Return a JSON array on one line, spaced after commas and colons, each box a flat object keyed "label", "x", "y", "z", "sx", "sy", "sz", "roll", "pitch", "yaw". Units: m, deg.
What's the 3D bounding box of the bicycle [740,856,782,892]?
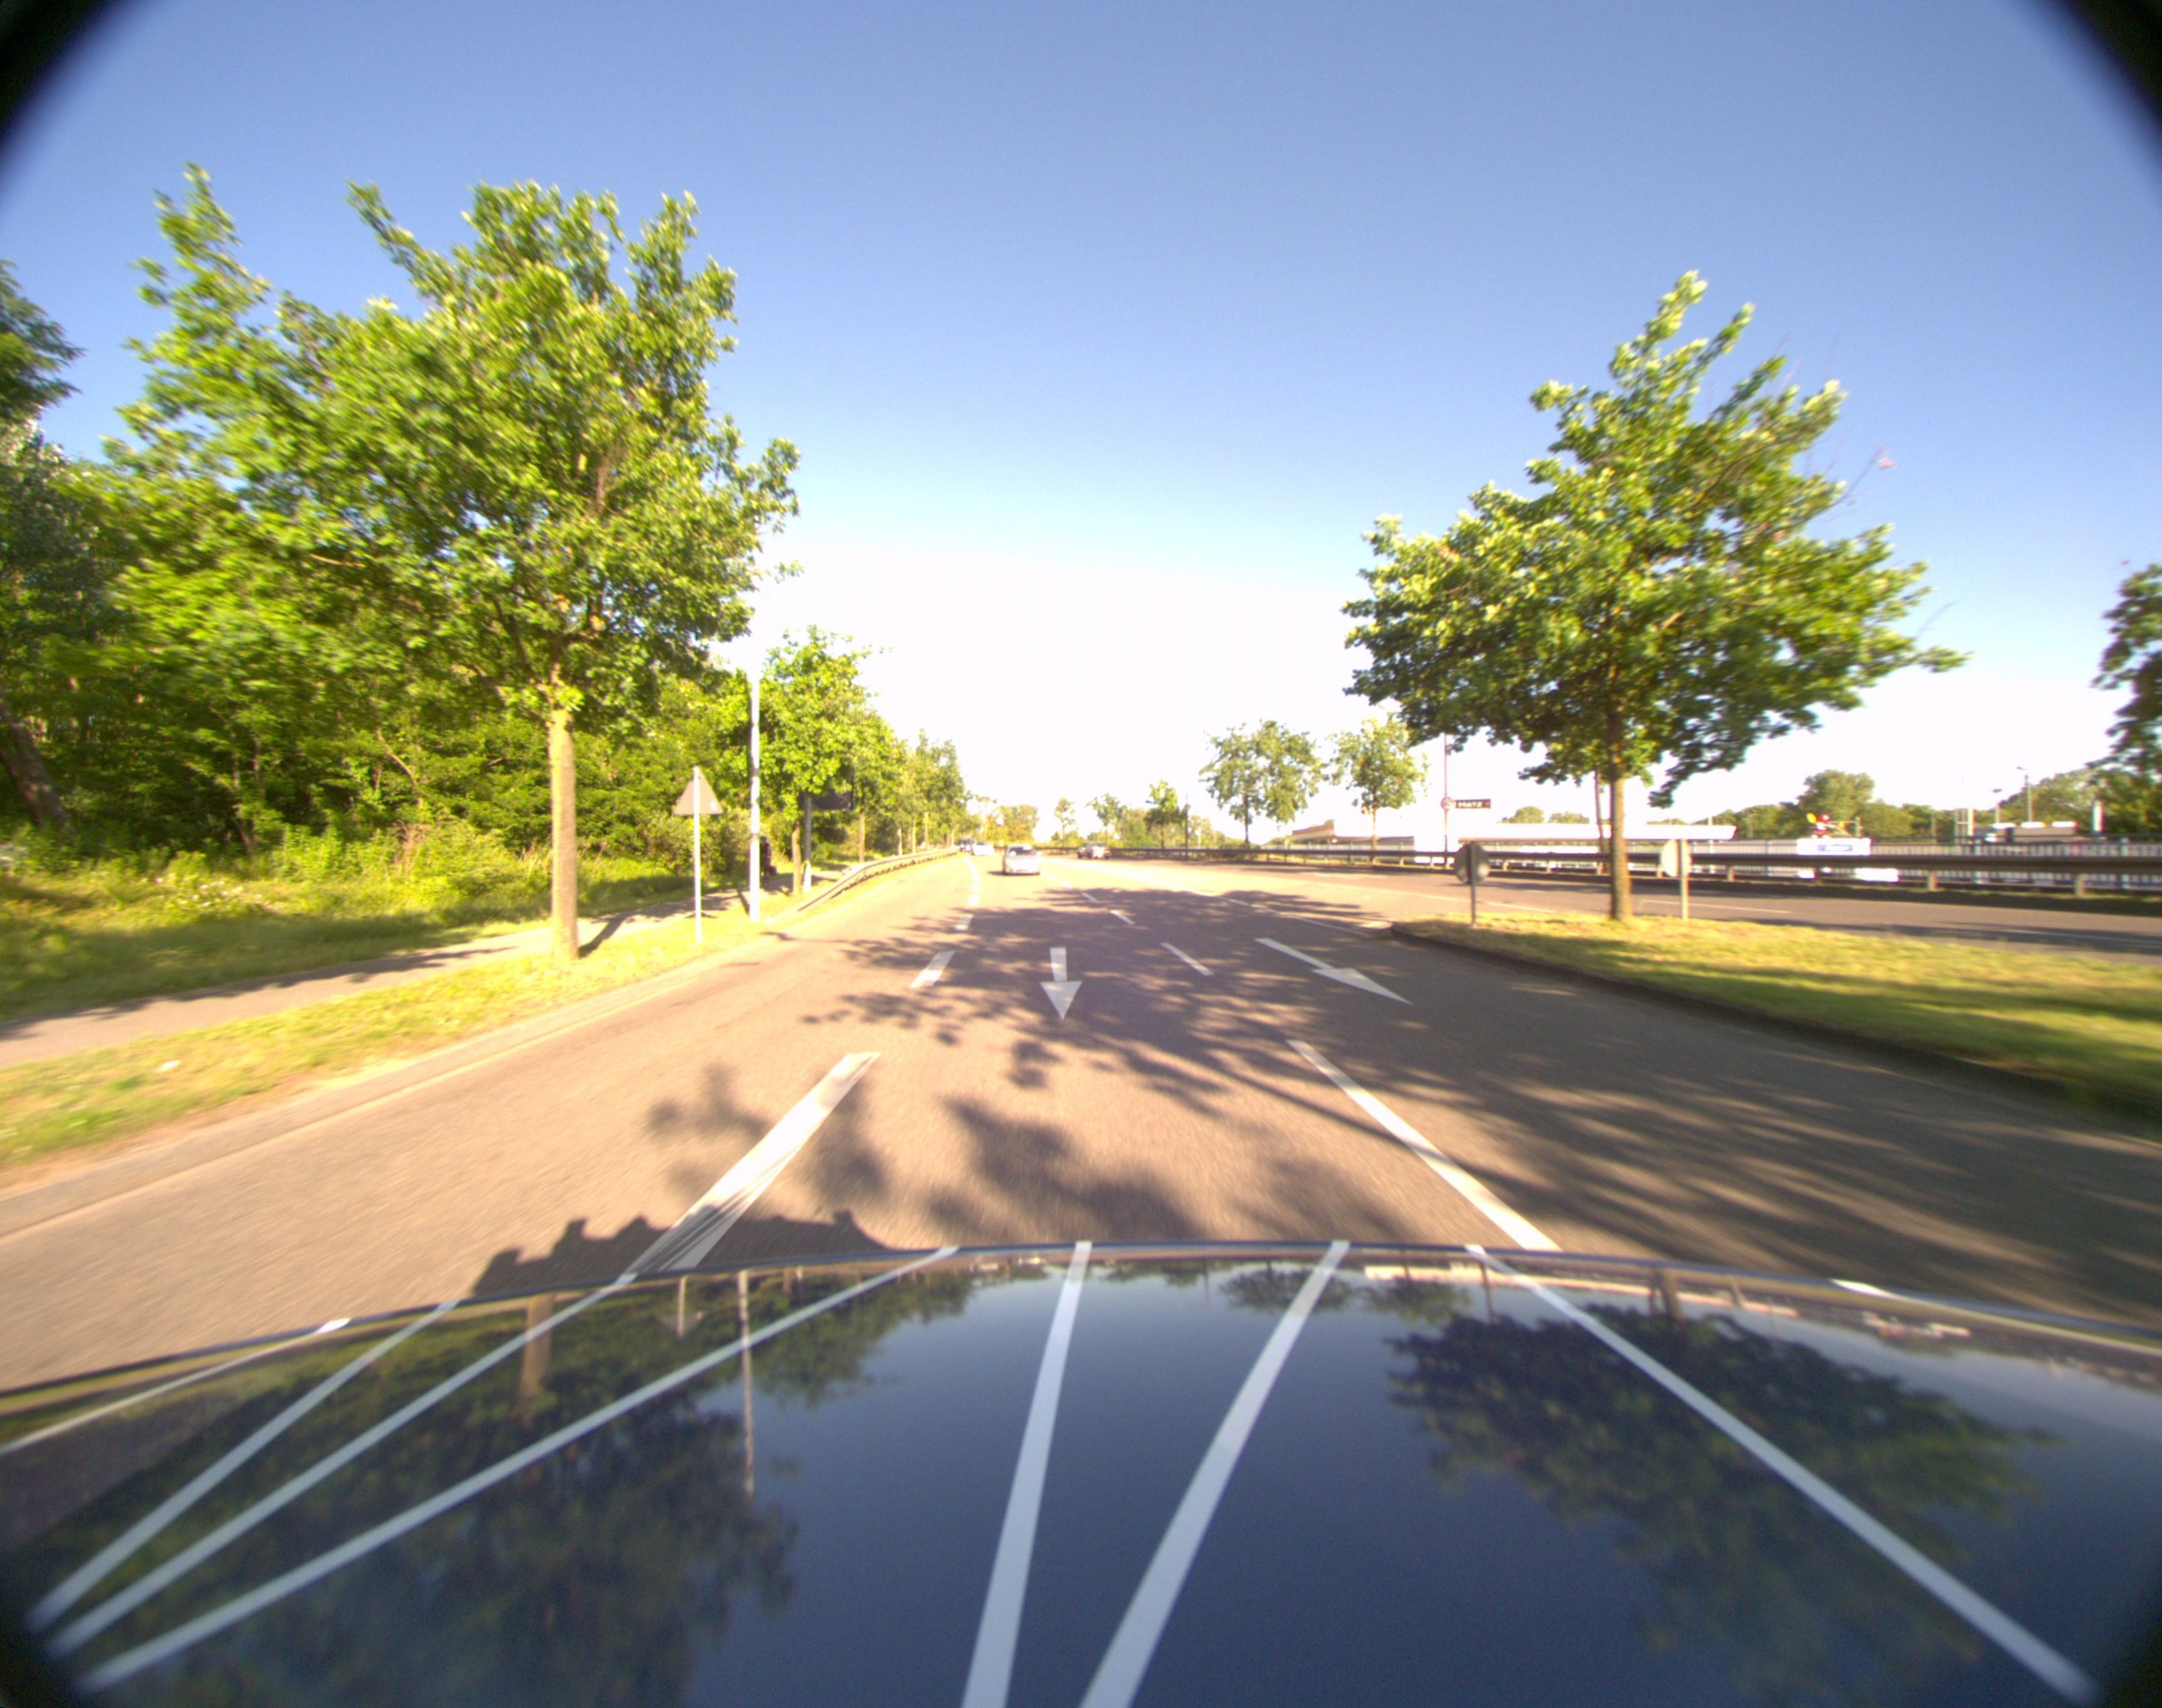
[{"label": "bicycle", "x": -10.289, "y": 0.636, "z": 24.522, "sx": 0.703, "sy": 1.068, "sz": 1.920, "roll": 1, "pitch": 1, "yaw": -6}]

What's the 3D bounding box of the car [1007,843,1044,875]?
[{"label": "car", "x": -2.729, "y": 0.206, "z": 36.811, "sx": 1.683, "sy": 1.433, "sz": 3.856, "roll": -1, "pitch": 1, "yaw": -5}]

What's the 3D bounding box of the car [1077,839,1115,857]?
[{"label": "car", "x": 1.157, "y": -0.514, "z": 62.430, "sx": 1.736, "sy": 1.378, "sz": 4.488, "roll": -2, "pitch": 1, "yaw": -18}]

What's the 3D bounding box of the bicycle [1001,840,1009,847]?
[{"label": "bicycle", "x": -11.562, "y": -1.606, "z": 116.005, "sx": 0.663, "sy": 1.089, "sz": 2.104, "roll": 1, "pitch": 1, "yaw": -20}]

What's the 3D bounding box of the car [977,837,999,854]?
[{"label": "car", "x": -9.573, "y": -0.887, "z": 78.485, "sx": 2.151, "sy": 1.558, "sz": 4.195, "roll": 3, "pitch": 1, "yaw": -6}]

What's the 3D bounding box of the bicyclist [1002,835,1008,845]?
[{"label": "bicyclist", "x": -11.559, "y": -2.152, "z": 116.050, "sx": 0.654, "sy": 1.614, "sz": 0.872, "roll": 1, "pitch": 1, "yaw": -20}]

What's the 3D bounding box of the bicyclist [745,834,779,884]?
[{"label": "bicyclist", "x": -10.273, "y": 0.145, "z": 24.473, "sx": 0.709, "sy": 1.569, "sz": 1.004, "roll": 1, "pitch": 1, "yaw": -6}]

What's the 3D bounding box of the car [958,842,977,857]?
[{"label": "car", "x": -14.011, "y": -0.534, "z": 93.829, "sx": 2.001, "sy": 1.707, "sz": 4.266, "roll": -1, "pitch": 0, "yaw": -13}]
